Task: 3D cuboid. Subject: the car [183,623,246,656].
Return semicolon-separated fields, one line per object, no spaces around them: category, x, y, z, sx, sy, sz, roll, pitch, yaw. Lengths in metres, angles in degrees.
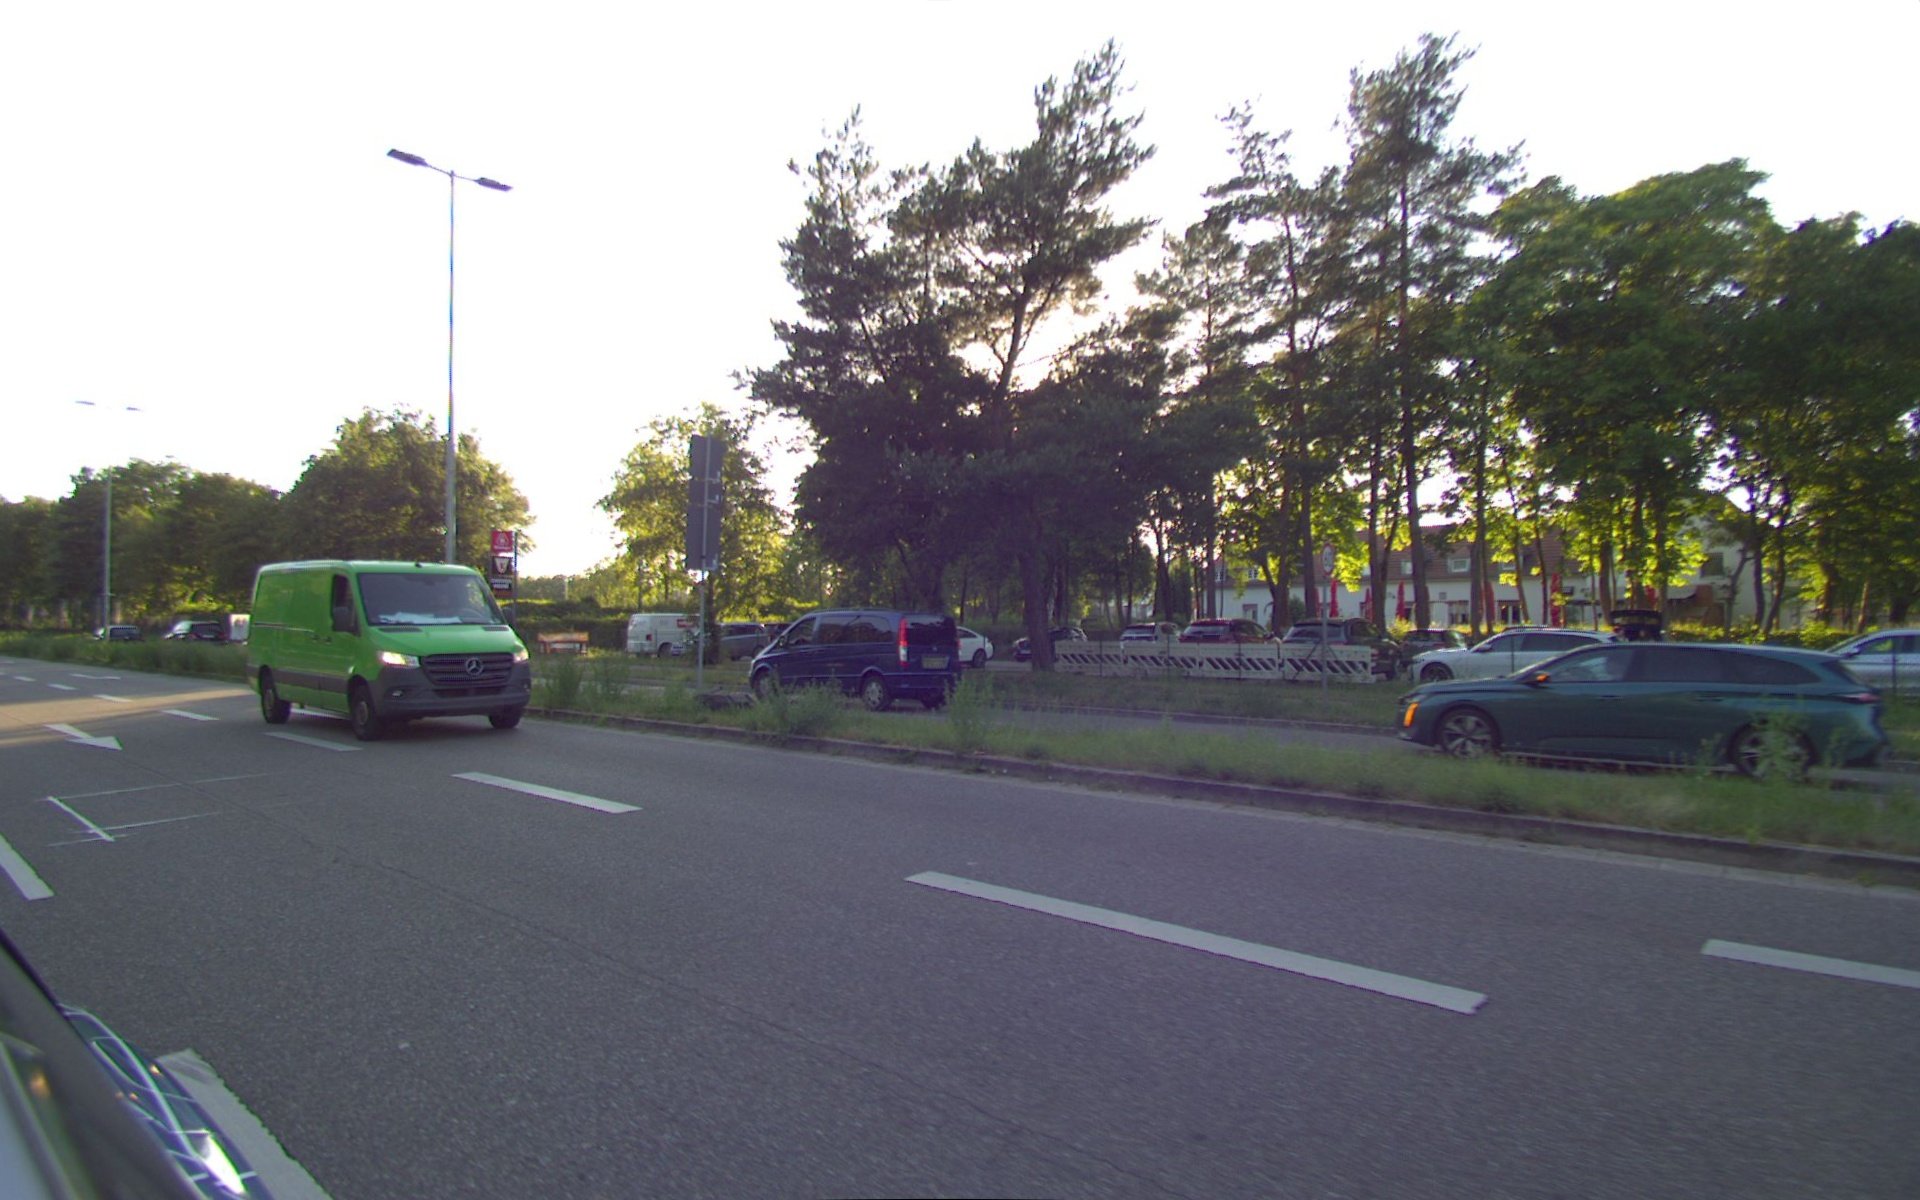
car;-37.684;1.979;51.149;3.998;1.552;1.737;-1;0;41

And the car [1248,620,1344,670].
car;12.057;1.599;36.212;1.766;1.663;3.943;-2;-3;43

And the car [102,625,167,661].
car;-38.889;1.996;47.633;3.998;1.552;1.737;-1;0;41

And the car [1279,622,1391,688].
car;9.342;1.331;25.129;1.658;1.538;3.058;-2;-3;41

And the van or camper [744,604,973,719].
van or camper;-2.105;1.170;20.164;4.576;2.029;1.972;-2;-3;41

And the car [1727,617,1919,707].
car;17.706;1.150;19.255;4.916;1.619;1.974;-2;-3;39

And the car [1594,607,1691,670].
car;19.412;1.086;28.714;1.766;1.663;3.944;-2;-3;41

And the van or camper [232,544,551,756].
van or camper;-8.218;0.668;14.320;5.891;2.439;1.973;-2;-3;40

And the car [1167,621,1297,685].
car;7.551;1.414;27.823;1.770;1.629;4.467;-2;-3;39

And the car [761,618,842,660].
car;-8.035;1.984;51.136;3.998;2.029;1.972;-2;-3;41

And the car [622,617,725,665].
car;-12.257;1.768;43.432;1.765;1.959;3.946;-2;-3;40

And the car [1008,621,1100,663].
car;3.907;1.712;41.580;1.766;1.663;3.944;-2;-3;42

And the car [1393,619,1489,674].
car;15.622;1.496;32.786;1.766;1.663;3.944;-2;-3;41

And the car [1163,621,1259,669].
car;9.184;1.636;36.928;1.766;1.663;3.944;-2;-3;42

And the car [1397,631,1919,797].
car;7.522;1.108;11.325;4.504;1.506;1.976;-2;-2;36

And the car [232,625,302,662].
car;-31.720;1.936;46.292;3.998;1.552;1.737;-1;0;41

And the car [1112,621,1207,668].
car;7.564;1.657;38.202;1.766;1.663;3.944;-2;-3;42

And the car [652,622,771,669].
car;-10.076;1.824;41.303;1.908;1.812;4.440;-2;-3;40

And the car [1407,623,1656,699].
car;12.983;1.341;23.133;4.704;1.560;1.974;-2;-3;39
